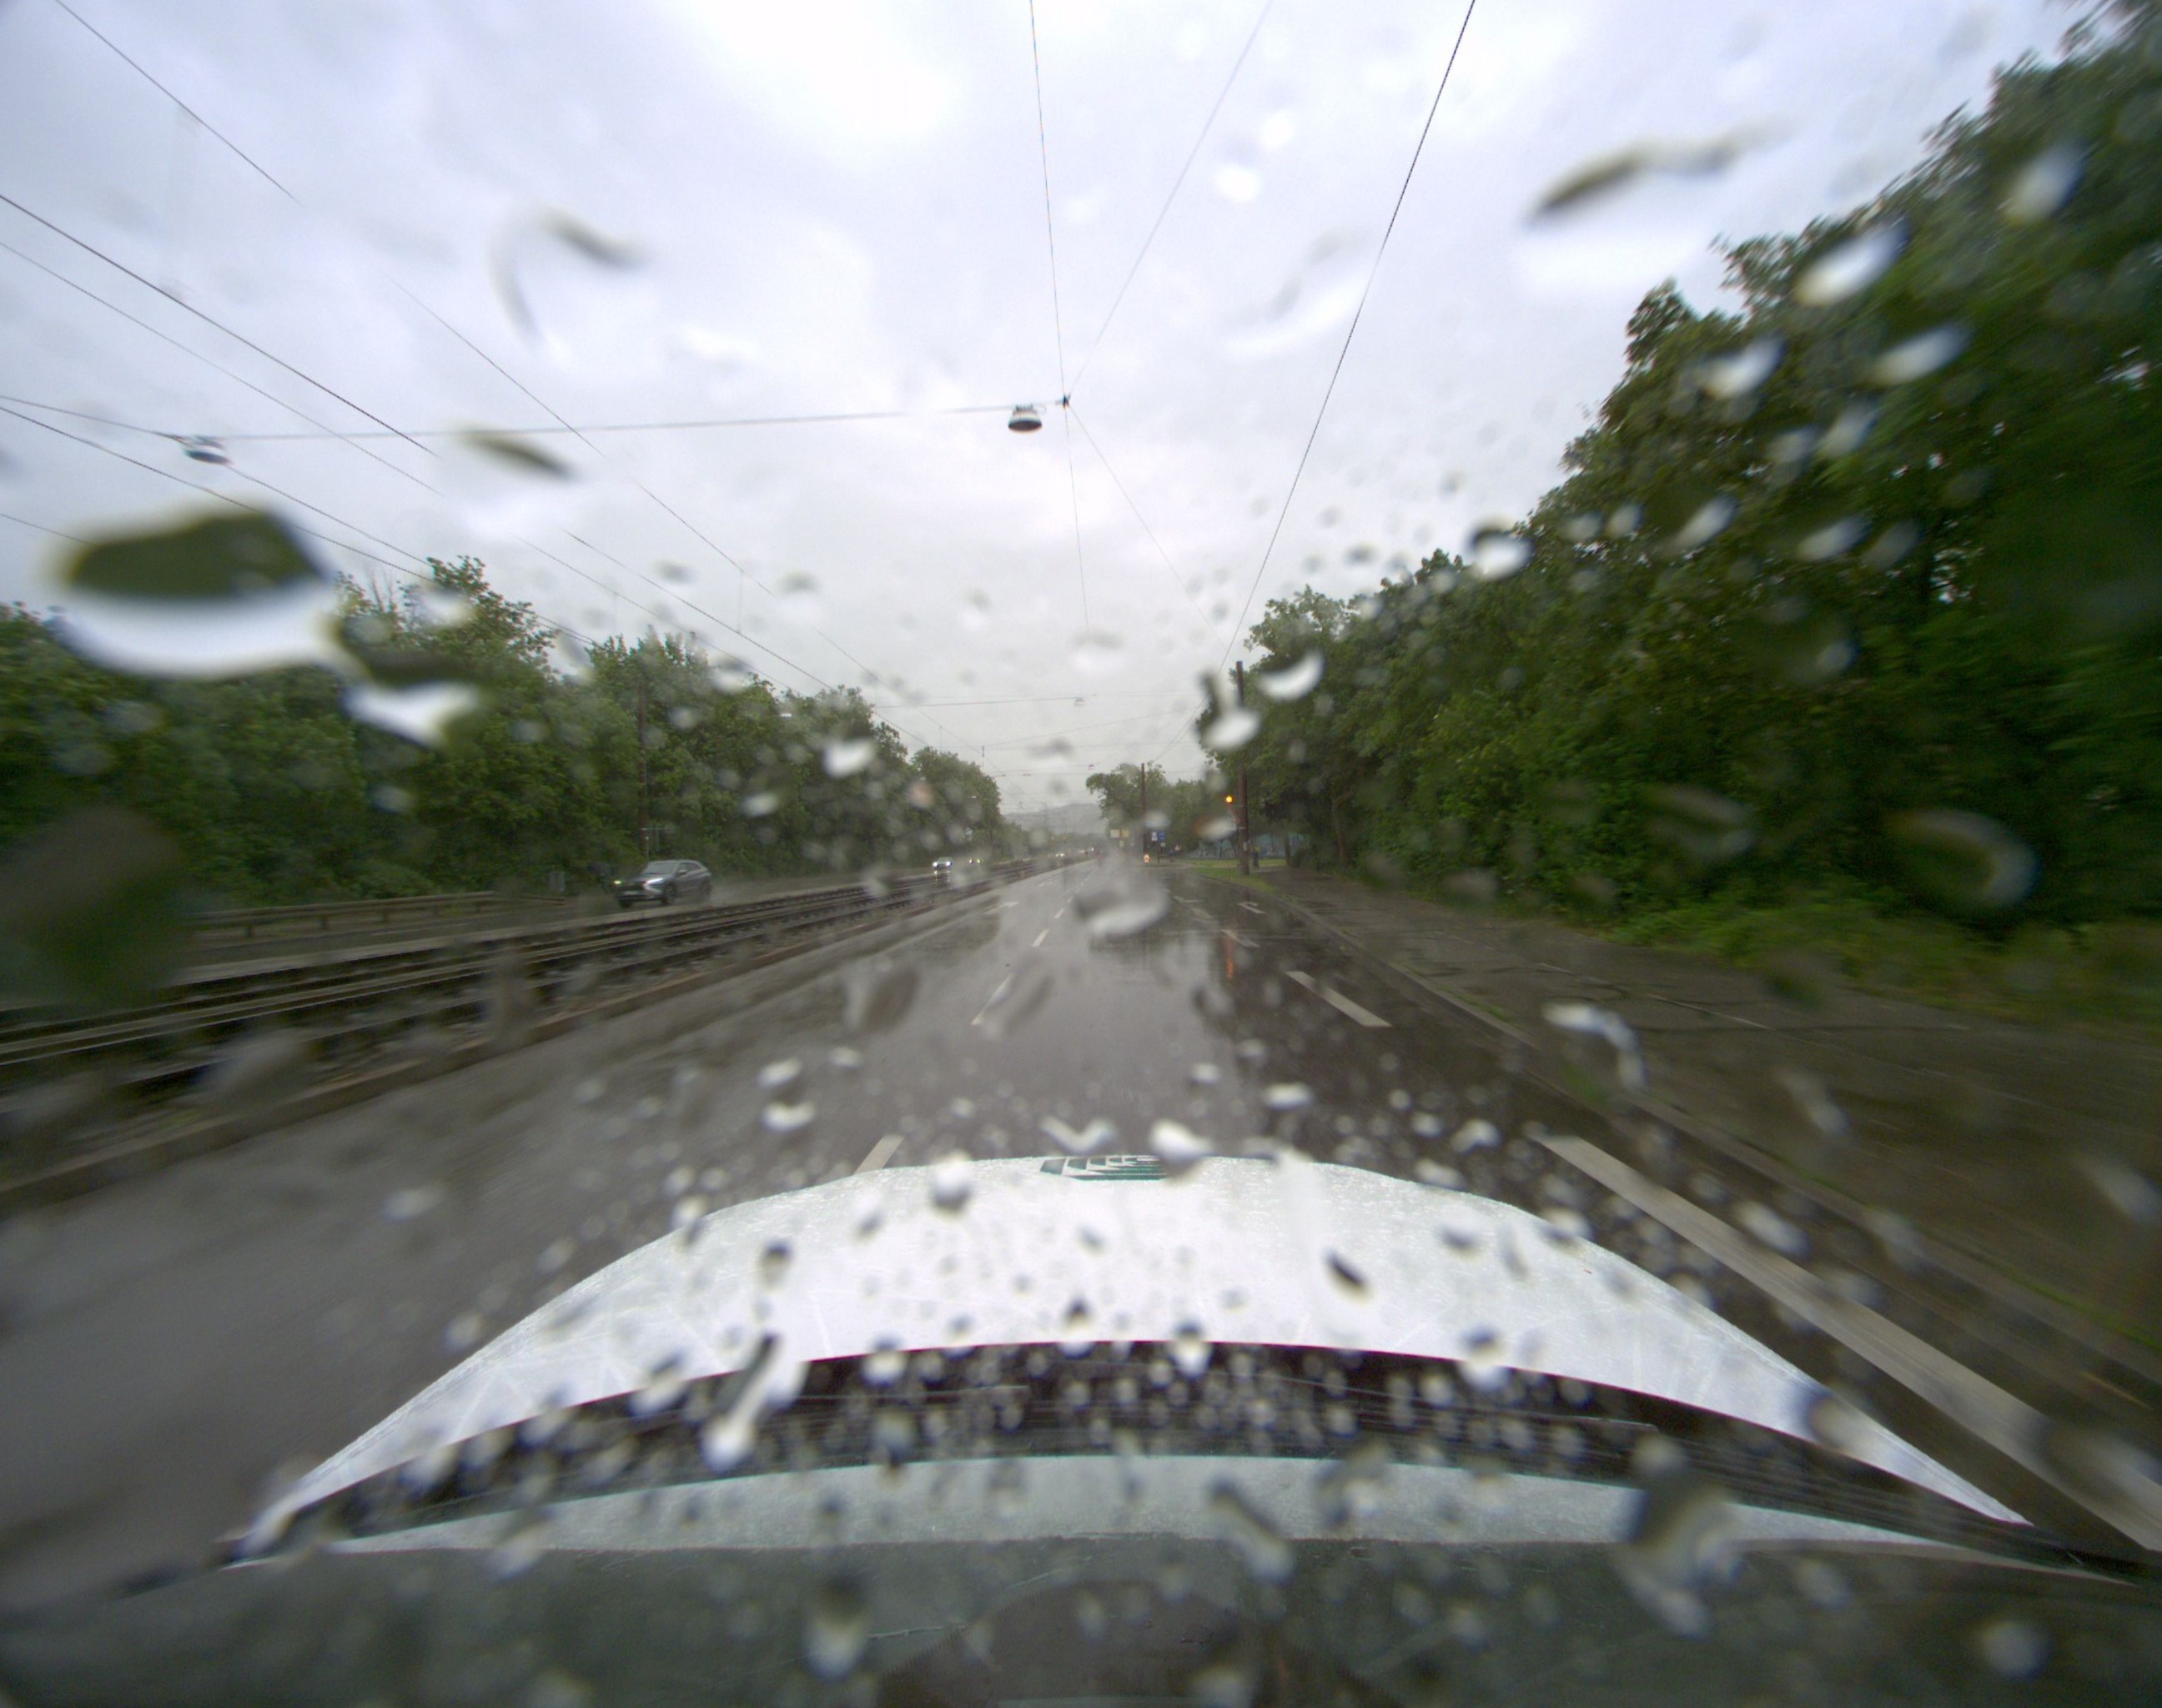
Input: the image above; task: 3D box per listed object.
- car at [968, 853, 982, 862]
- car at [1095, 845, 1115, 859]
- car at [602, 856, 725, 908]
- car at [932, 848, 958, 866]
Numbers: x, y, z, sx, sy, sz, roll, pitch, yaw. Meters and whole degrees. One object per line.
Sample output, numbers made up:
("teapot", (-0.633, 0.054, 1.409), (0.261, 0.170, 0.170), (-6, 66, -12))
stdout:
("car", (-17.461, 0.522, 134.130), (1.765, 1.330, 4.380), (-1, 0, 1))
("car", (2.657, -0.268, 89.677), (2.069, 1.420, 4.002), (-2, 0, 2))
("car", (-15.443, 0.972, 30.455), (1.987, 1.672, 4.873), (-1, 1, 1))
("car", (-14.521, 0.270, 87.141), (1.986, 1.782, 4.001), (3, 1, 1))
